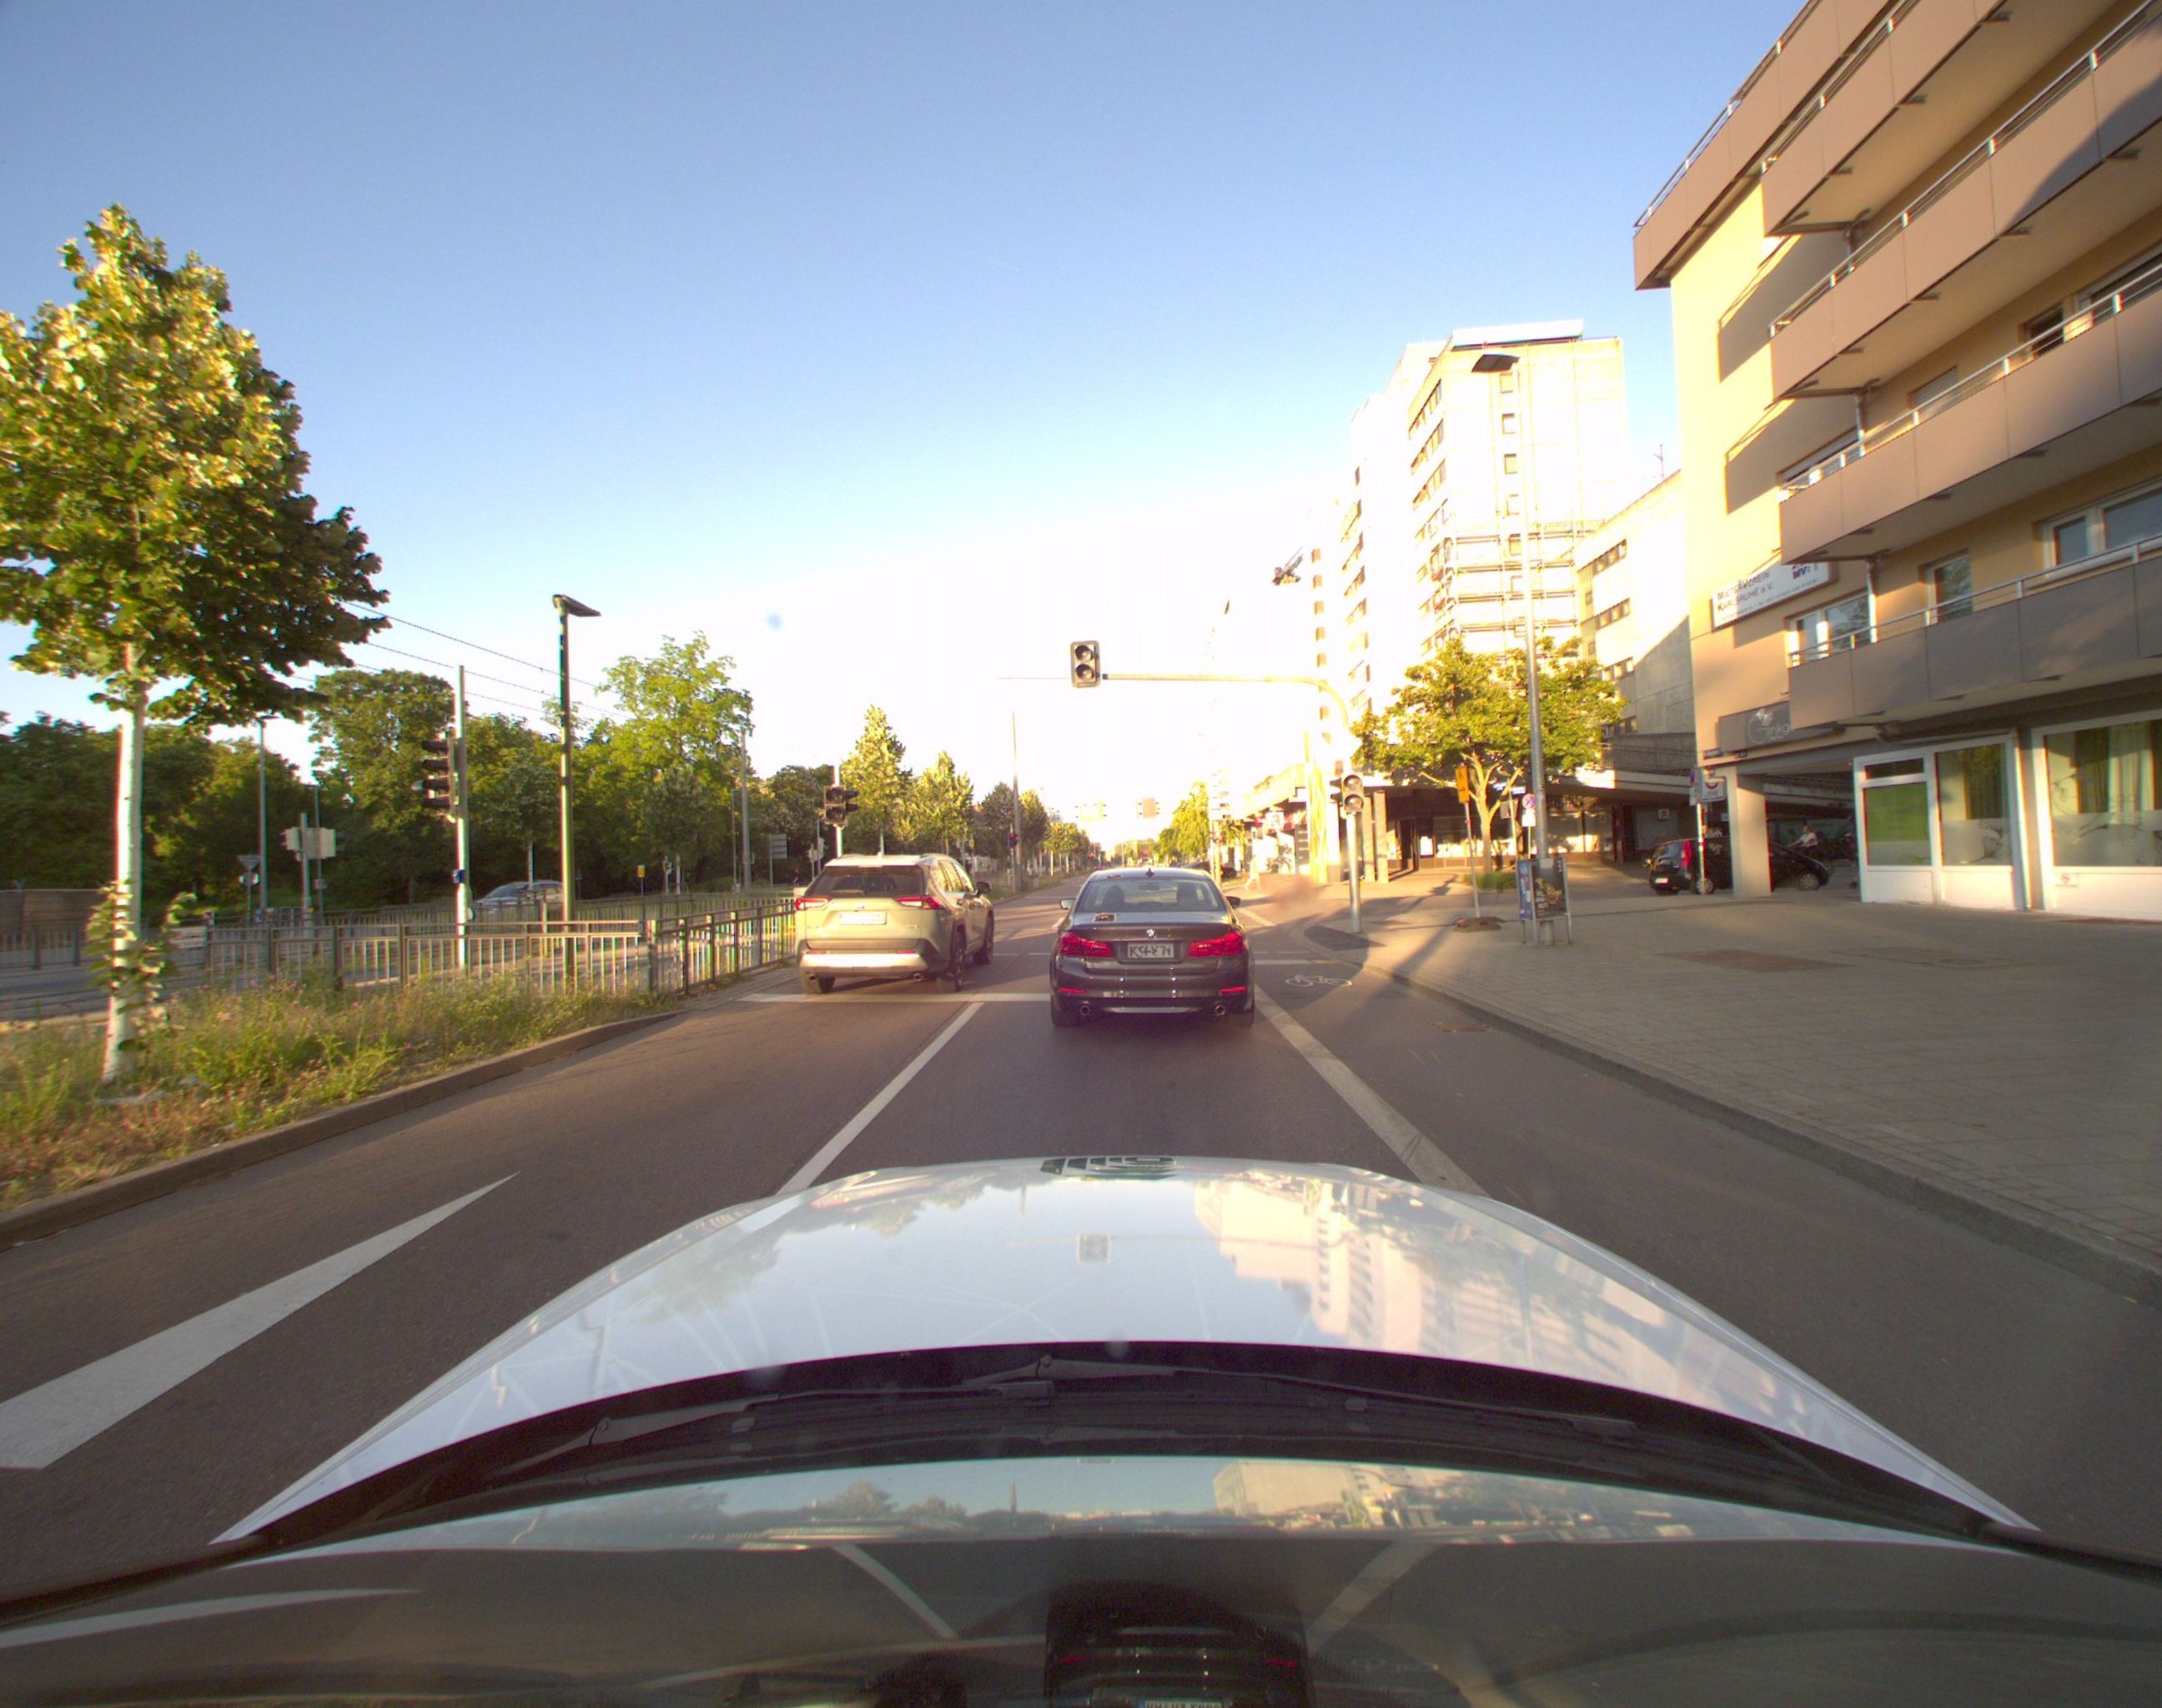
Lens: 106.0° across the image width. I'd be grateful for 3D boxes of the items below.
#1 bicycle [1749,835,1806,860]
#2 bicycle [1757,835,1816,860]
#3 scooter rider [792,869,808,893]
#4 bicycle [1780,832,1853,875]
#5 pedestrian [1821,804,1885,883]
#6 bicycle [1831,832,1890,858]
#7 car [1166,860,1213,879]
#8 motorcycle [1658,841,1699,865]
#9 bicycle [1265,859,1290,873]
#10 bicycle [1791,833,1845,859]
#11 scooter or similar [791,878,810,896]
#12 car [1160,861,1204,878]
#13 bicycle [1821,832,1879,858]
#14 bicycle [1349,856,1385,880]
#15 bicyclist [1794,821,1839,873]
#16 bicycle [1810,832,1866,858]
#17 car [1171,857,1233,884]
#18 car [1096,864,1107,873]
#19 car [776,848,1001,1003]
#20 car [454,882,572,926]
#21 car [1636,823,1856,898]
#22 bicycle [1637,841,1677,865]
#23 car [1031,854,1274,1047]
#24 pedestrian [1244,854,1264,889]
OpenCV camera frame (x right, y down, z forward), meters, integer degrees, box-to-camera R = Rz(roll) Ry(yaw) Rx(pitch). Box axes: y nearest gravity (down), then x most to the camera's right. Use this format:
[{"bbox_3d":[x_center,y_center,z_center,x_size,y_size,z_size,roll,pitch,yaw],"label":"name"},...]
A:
[{"bbox_3d":[31.693,-0.281,37.108,0.582,1.075,1.966,1,-2,-17],"label":"bicycle"},{"bbox_3d":[32.170,-0.296,37.168,0.583,1.075,1.963,1,-2,-21],"label":"bicycle"},{"bbox_3d":[-18.819,1.805,54.565,0.646,1.514,0.826,-3,-1,14],"label":"scooter rider"},{"bbox_3d":[24.397,-0.016,27.030,1.774,1.310,0.653,-3,-1,2],"label":"bicycle"},{"bbox_3d":[18.529,-0.238,19.561,0.831,1.828,0.648,-3,-1,4],"label":"pedestrian"},{"bbox_3d":[35.160,-0.378,36.762,0.581,1.075,1.970,1,-2,-9],"label":"bicycle"},{"bbox_3d":[10.507,1.483,78.648,4.285,1.658,1.841,-1,0,-34],"label":"car"},{"bbox_3d":[27.506,-0.033,37.543,0.642,1.075,1.879,0,-2,5],"label":"motorcycle"},{"bbox_3d":[16.544,1.007,68.449,2.005,1.149,0.692,0,-2,8],"label":"bicycle"},{"bbox_3d":[33.328,-0.349,36.856,0.579,1.075,1.976,1,-2,-1],"label":"bicycle"},{"bbox_3d":[-18.799,2.192,54.527,0.508,1.153,1.338,-3,-1,14],"label":"scooter or similar"},{"bbox_3d":[10.521,1.593,84.794,4.284,1.658,1.841,-1,0,-33],"label":"car"},{"bbox_3d":[34.532,-0.402,36.605,0.581,1.075,1.970,1,-2,-9],"label":"bicycle"},{"bbox_3d":[14.341,0.698,40.855,0.690,1.149,2.011,1,-2,-16],"label":"bicycle"},{"bbox_3d":[24.400,-0.230,27.037,0.815,1.681,0.653,-3,-1,2],"label":"bicyclist"},{"bbox_3d":[33.918,-0.402,36.534,0.580,1.075,1.974,1,-2,-4],"label":"bicycle"},{"bbox_3d":[8.398,1.103,56.323,4.291,1.658,1.839,-1,0,-41],"label":"car"},{"bbox_3d":[3.687,2.560,146.704,1.971,1.433,4.845,-1,0,2],"label":"car"},{"bbox_3d":[-2.312,0.760,11.009,1.847,1.658,4.271,-1,0,2],"label":"car"},{"bbox_3d":[-22.256,1.919,32.100,1.793,1.481,3.785,-2,-1,3],"label":"car"},{"bbox_3d":[17.093,0.216,21.109,4.020,1.586,1.708,-4,-4,6],"label":"car"},{"bbox_3d":[26.849,-0.028,37.979,0.578,1.075,1.979,0,-2,5],"label":"bicycle"},{"bbox_3d":[0.661,0.781,8.818,1.924,1.481,4.525,-1,0,2],"label":"car"},{"bbox_3d":[8.747,0.899,41.156,0.832,1.712,0.648,-2,-1,1],"label":"pedestrian"}]
